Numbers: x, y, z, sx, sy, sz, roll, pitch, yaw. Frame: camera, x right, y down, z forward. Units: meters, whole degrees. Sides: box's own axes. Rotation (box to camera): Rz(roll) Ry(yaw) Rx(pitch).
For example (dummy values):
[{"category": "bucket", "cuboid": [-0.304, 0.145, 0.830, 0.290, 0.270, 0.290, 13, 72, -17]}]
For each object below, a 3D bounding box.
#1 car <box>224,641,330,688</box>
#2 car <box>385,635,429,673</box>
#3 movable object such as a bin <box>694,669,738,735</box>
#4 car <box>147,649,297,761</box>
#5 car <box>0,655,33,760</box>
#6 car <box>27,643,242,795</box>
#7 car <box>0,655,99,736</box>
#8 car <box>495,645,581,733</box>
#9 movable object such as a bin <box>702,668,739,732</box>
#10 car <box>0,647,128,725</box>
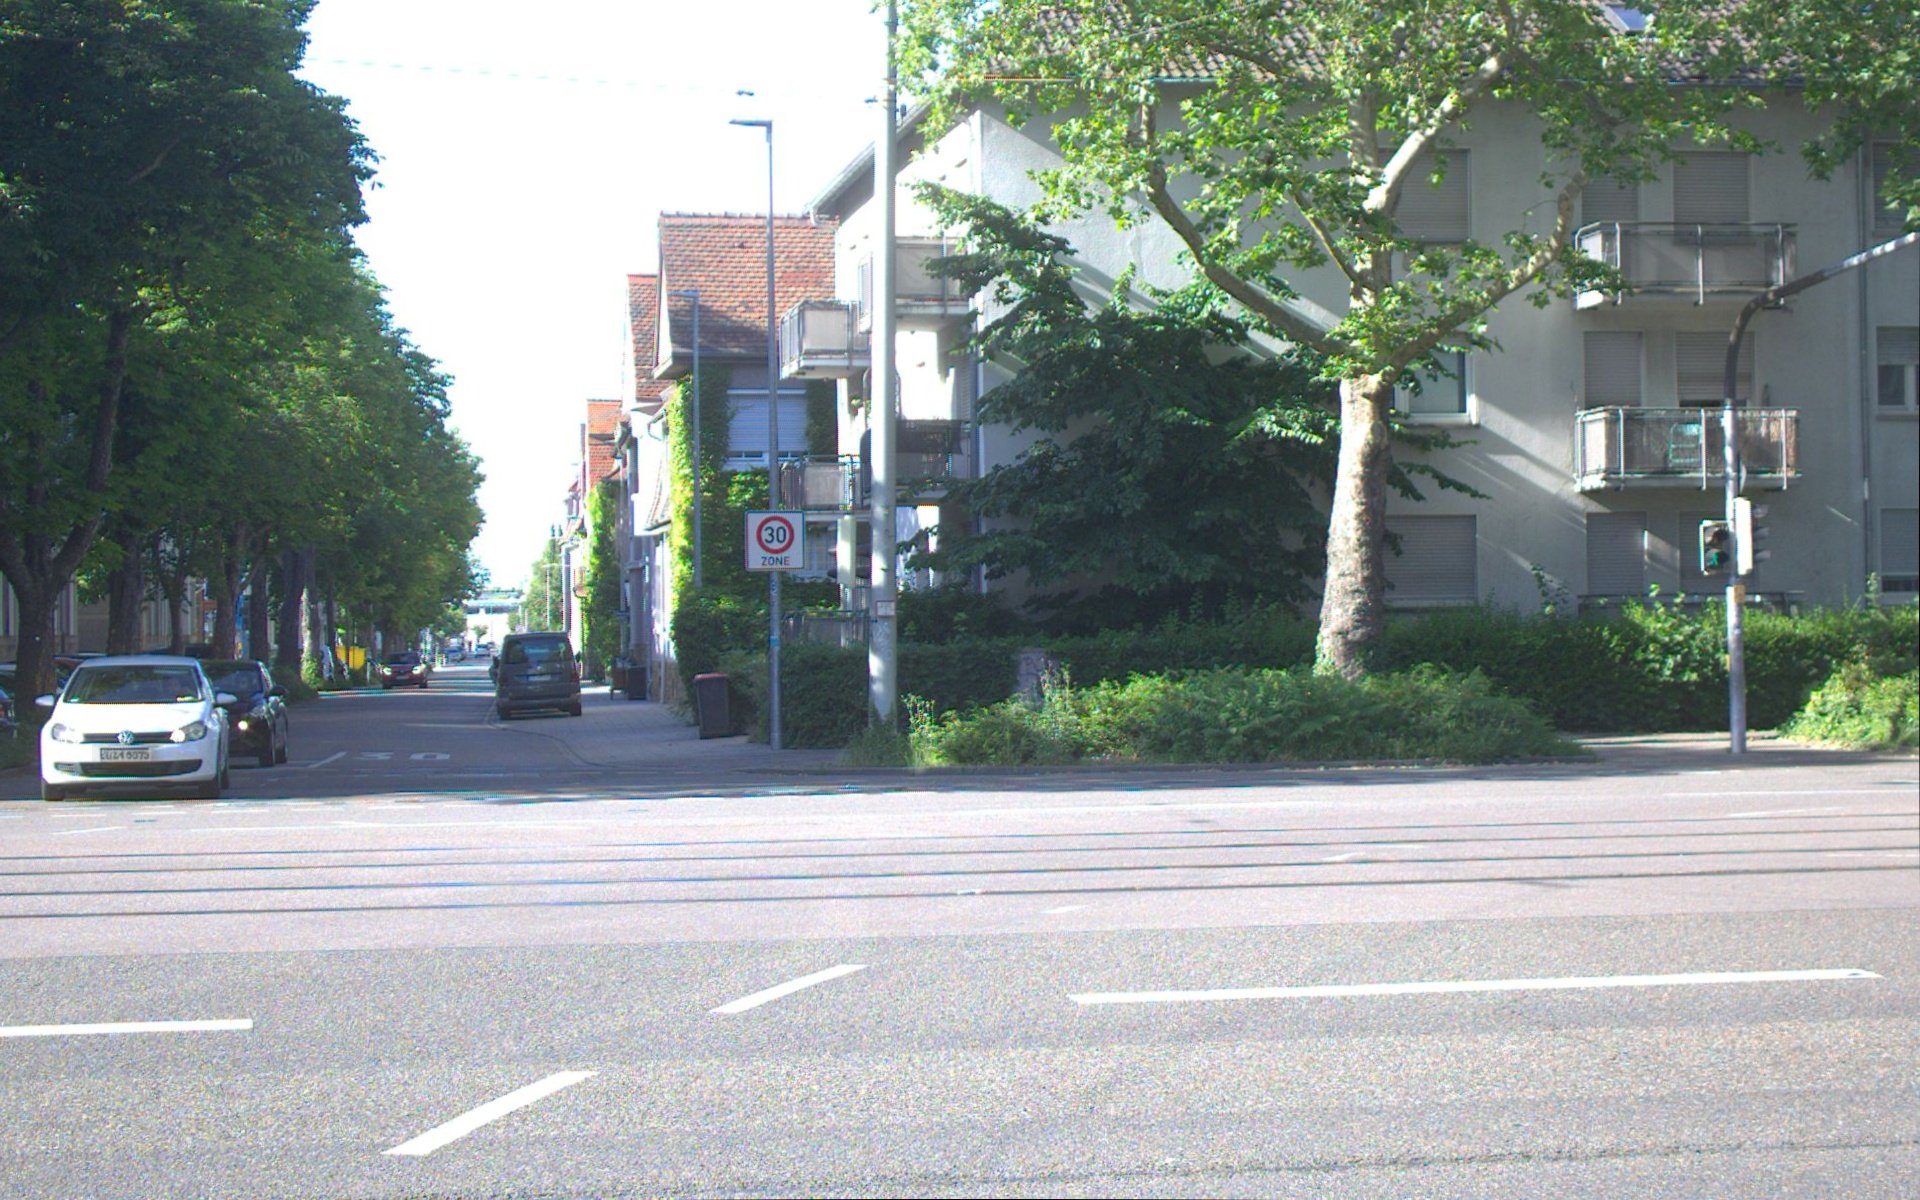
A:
[{"category": "car", "cuboid": [-26.701, 2.522, 134.493, 3.986, 1.755, 1.798, 2, -2, -11]}, {"category": "car", "cuboid": [-22.597, 2.204, 140.584, 1.641, 1.503, 3.703, -2, -1, -8]}, {"category": "movable object such as a bin", "cuboid": [-4.066, 1.691, 57.306, 0.597, 1.041, 0.707, -4, 0, -10]}, {"category": "car", "cuboid": [-10.153, 1.424, 47.510, 1.660, 1.459, 3.809, -1, -1, -7]}, {"category": "car", "cuboid": [-15.396, 1.584, 49.232, 3.881, 1.471, 1.615, -2, -1, -8]}, {"category": "car", "cuboid": [-8.492, 1.221, 35.645, 1.806, 1.453, 4.000, -1, -2, -8]}, {"category": "car", "cuboid": [-17.538, 1.733, 62.521, 3.433, 1.447, 1.703, 0, -2, -5]}, {"category": "car", "cuboid": [-9.874, 2.051, 80.337, 1.864, 1.909, 4.783, 2, -1, -7]}, {"category": "movable object such as a bin", "cuboid": [-4.056, 1.690, 58.123, 0.483, 1.041, 0.657, -4, 0, -10]}, {"category": "car", "cuboid": [-19.120, 1.762, 70.084, 3.986, 1.503, 1.722, -2, -1, -6]}]
